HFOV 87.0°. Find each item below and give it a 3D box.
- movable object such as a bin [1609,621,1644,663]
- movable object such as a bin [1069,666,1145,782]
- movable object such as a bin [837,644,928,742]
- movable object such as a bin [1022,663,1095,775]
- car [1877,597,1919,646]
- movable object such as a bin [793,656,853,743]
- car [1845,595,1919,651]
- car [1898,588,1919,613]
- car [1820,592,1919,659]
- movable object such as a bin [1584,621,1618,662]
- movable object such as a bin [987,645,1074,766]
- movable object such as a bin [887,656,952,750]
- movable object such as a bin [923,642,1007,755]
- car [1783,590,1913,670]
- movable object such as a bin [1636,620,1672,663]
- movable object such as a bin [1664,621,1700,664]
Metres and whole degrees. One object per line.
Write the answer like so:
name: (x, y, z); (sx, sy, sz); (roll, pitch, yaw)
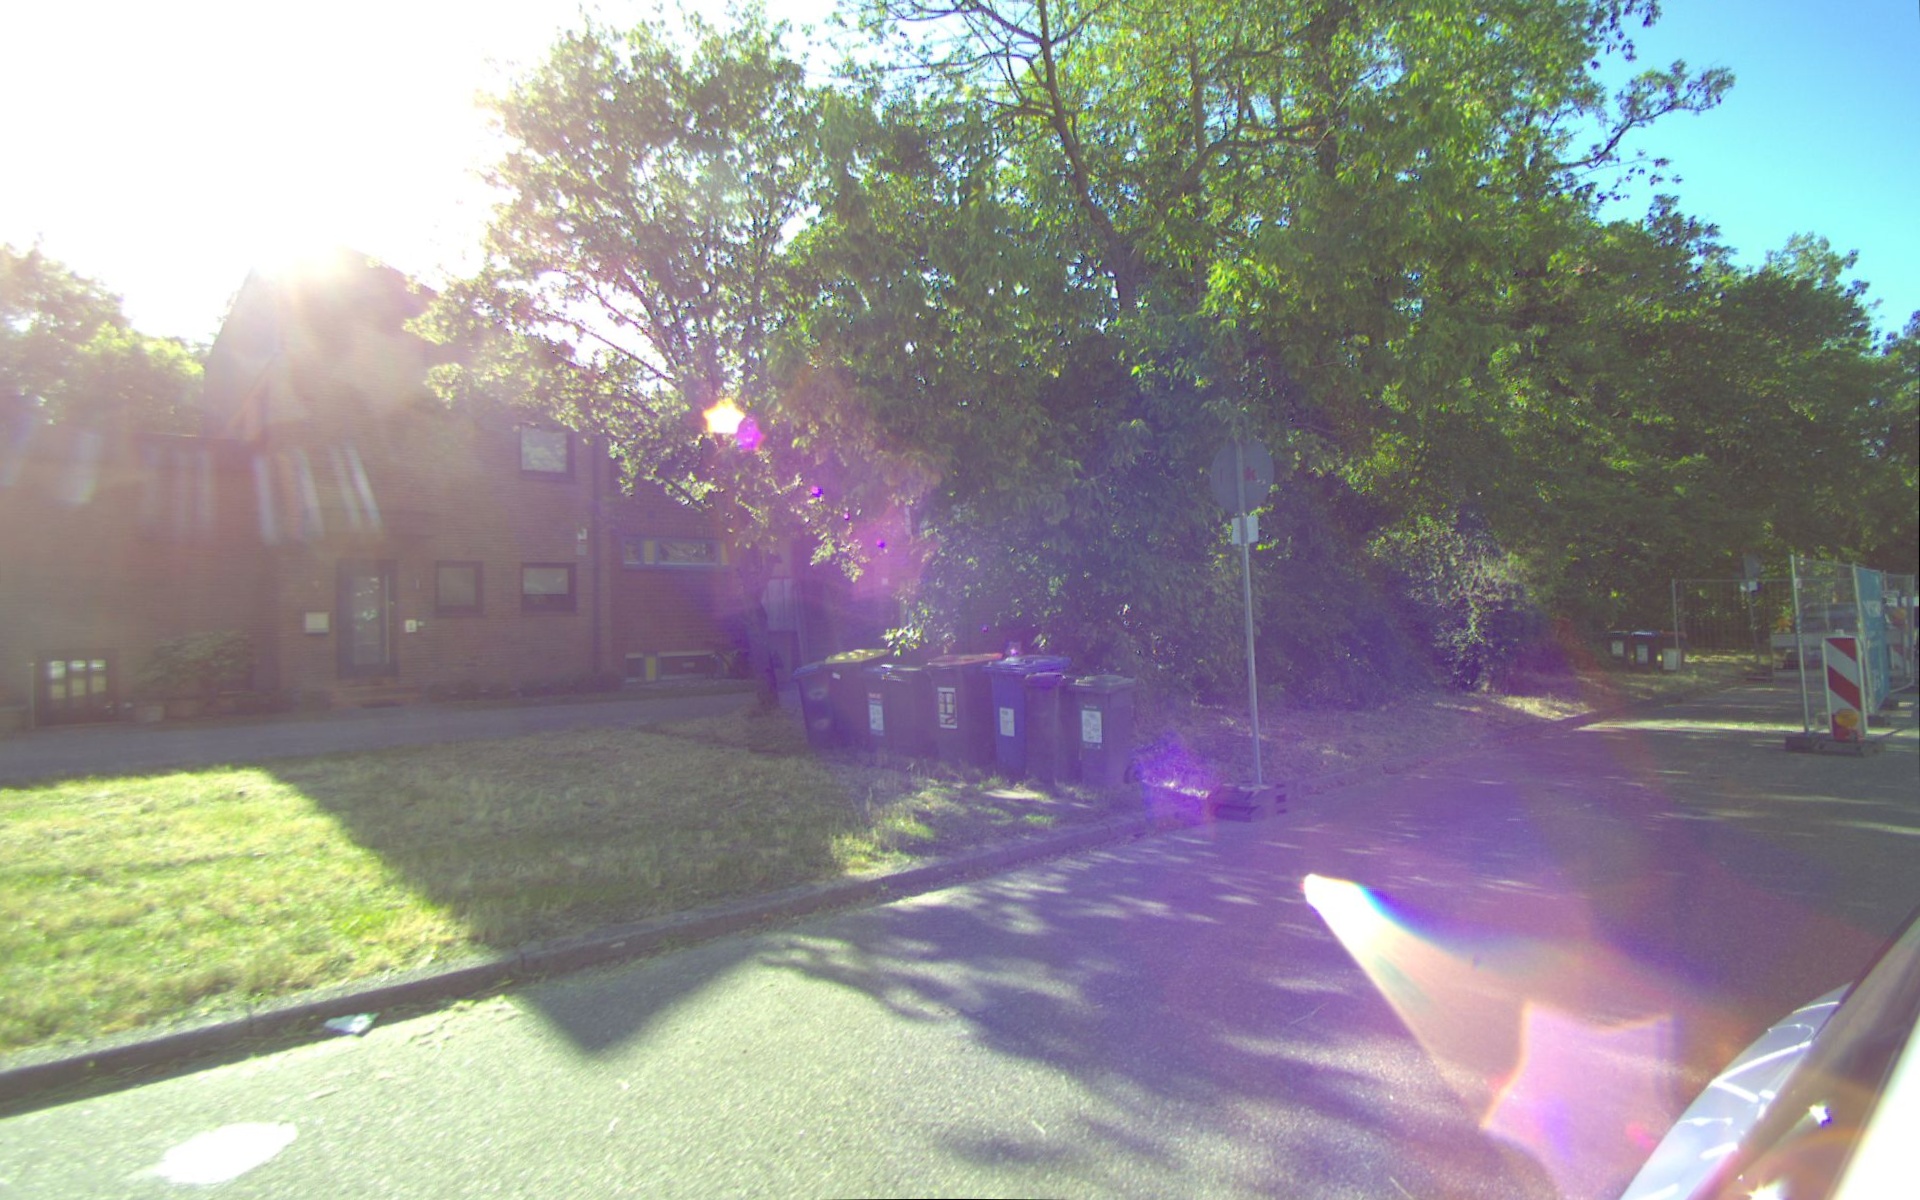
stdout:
movable object such as a bin: (14.205, 0.898, 21.574); (0.550, 0.872, 0.484); (0, -2, -44)
movable object such as a bin: (1.216, 1.010, 8.396); (0.476, 0.881, 0.413); (0, 0, -40)
movable object such as a bin: (-0.825, 0.969, 10.760); (0.683, 0.940, 0.695); (0, 0, -40)
movable object such as a bin: (0.846, 1.009, 8.725); (0.476, 0.881, 0.413); (0, 0, -40)
car: (30.679, 0.671, 32.427); (2.628, 1.529, 1.496); (0, -3, -39)
movable object such as a bin: (-1.523, 1.094, 11.254); (0.424, 0.893, 0.518); (0, 0, 37)
car: (27.288, 0.653, 29.607); (4.081, 1.529, 1.712); (0, -3, -44)
car: (81.397, 0.022, 83.860); (1.966, 2.030, 5.261); (0, -1, -42)
car: (23.871, 0.639, 26.274); (3.994, 1.594, 1.681); (0, -3, -40)
movable object such as a bin: (13.914, 0.898, 21.977); (0.550, 0.872, 0.484); (0, -2, -44)
movable object such as a bin: (0.646, 0.939, 9.241); (0.597, 1.012, 0.519); (0, 0, -40)
movable object such as a bin: (-0.409, 1.027, 10.224); (0.516, 0.881, 0.419); (0, 0, -41)
movable object such as a bin: (0.046, 0.937, 9.848); (0.597, 1.012, 0.563); (0, 0, -40)
car: (20.020, 0.639, 22.762); (4.066, 1.643, 1.680); (0, -3, -42)
movable object such as a bin: (14.542, 0.871, 21.210); (0.550, 0.872, 0.484); (0, -2, -44)
movable object such as a bin: (14.880, 0.875, 20.854); (0.550, 0.872, 0.484); (0, -2, -44)
